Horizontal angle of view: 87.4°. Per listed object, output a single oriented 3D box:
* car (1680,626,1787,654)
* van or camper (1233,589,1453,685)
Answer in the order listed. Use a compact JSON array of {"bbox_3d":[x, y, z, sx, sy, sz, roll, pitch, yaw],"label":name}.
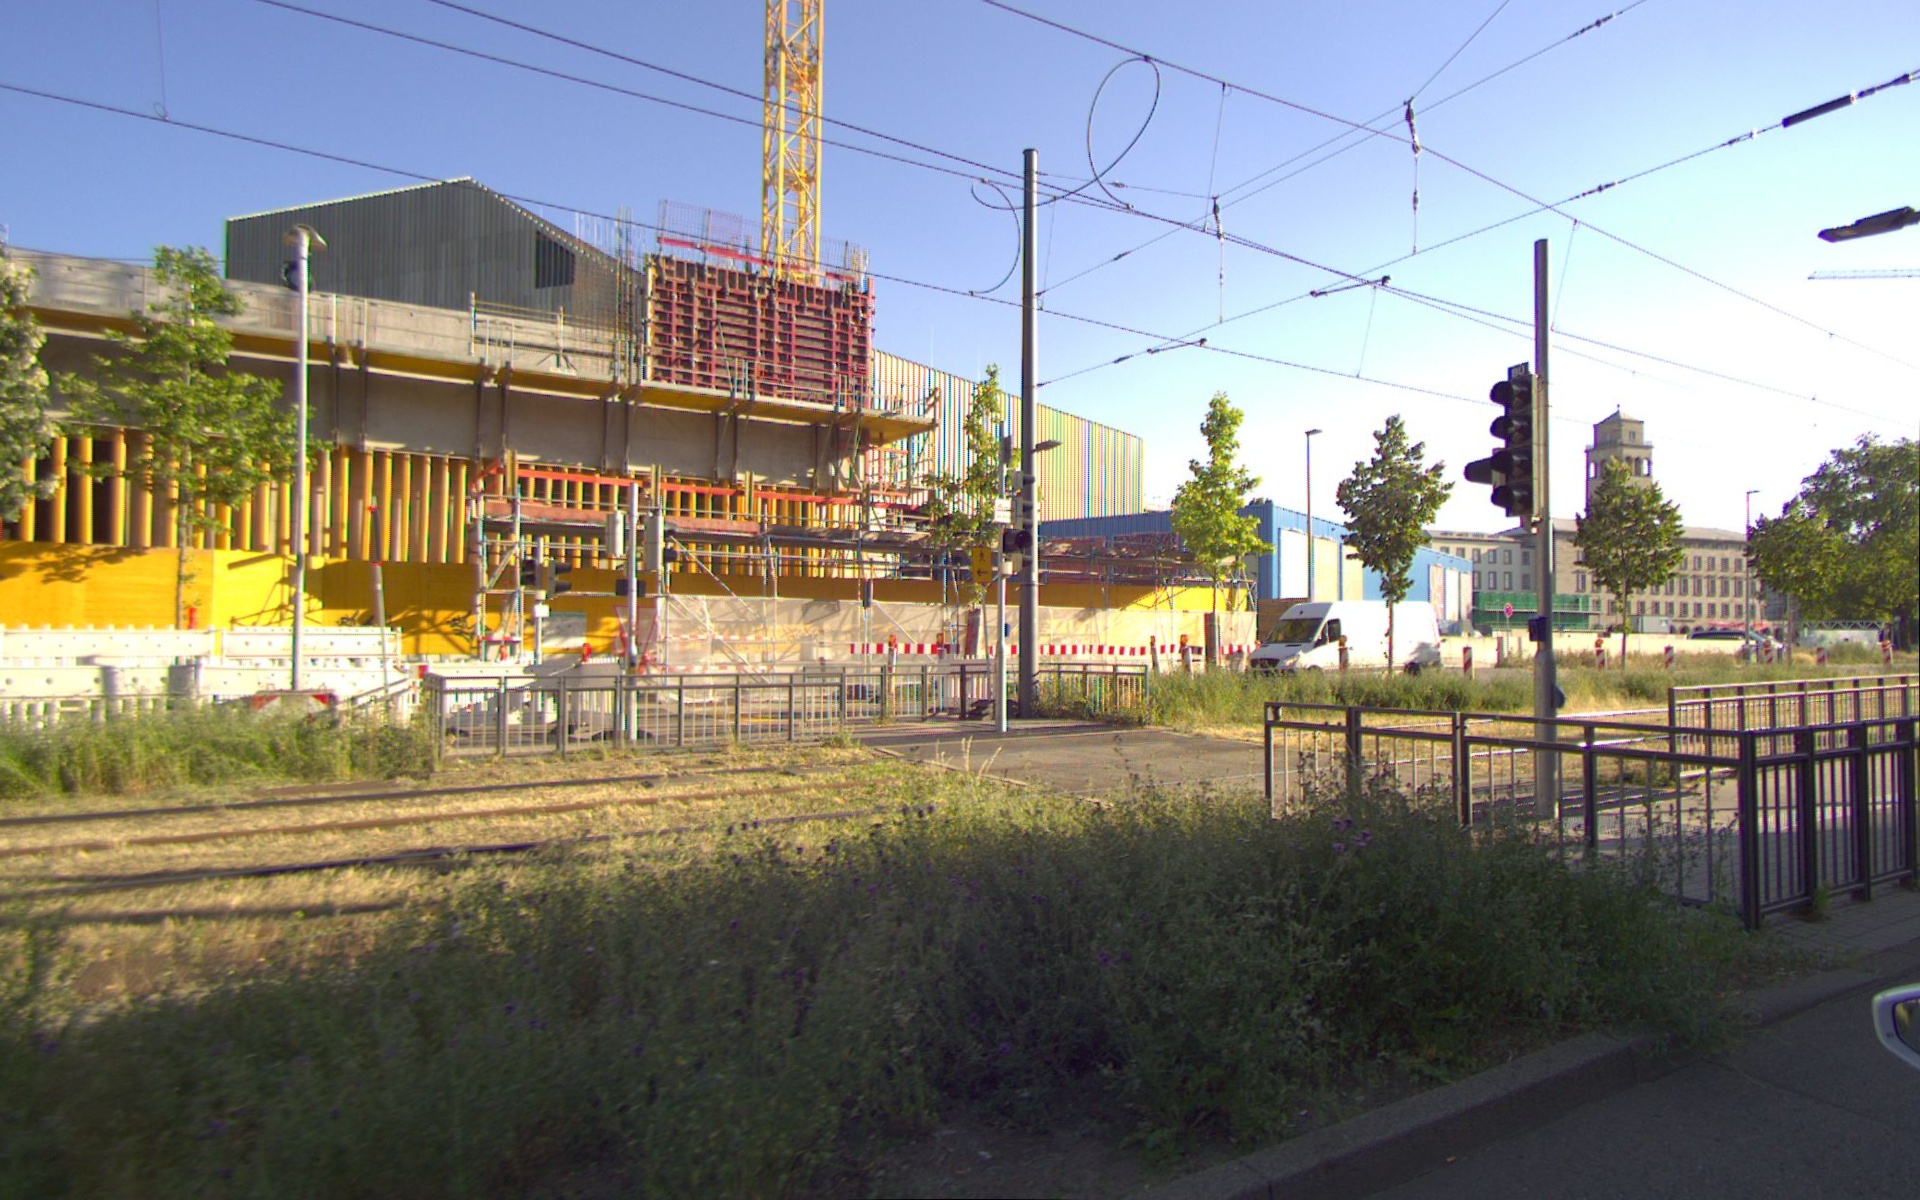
[{"bbox_3d":[50.507,2.610,65.693,2.096,1.739,5.211,1,-2,-25],"label":"car"},{"bbox_3d":[11.394,1.099,29.622,7.121,2.542,2.210,1,-3,-32],"label":"van or camper"}]
